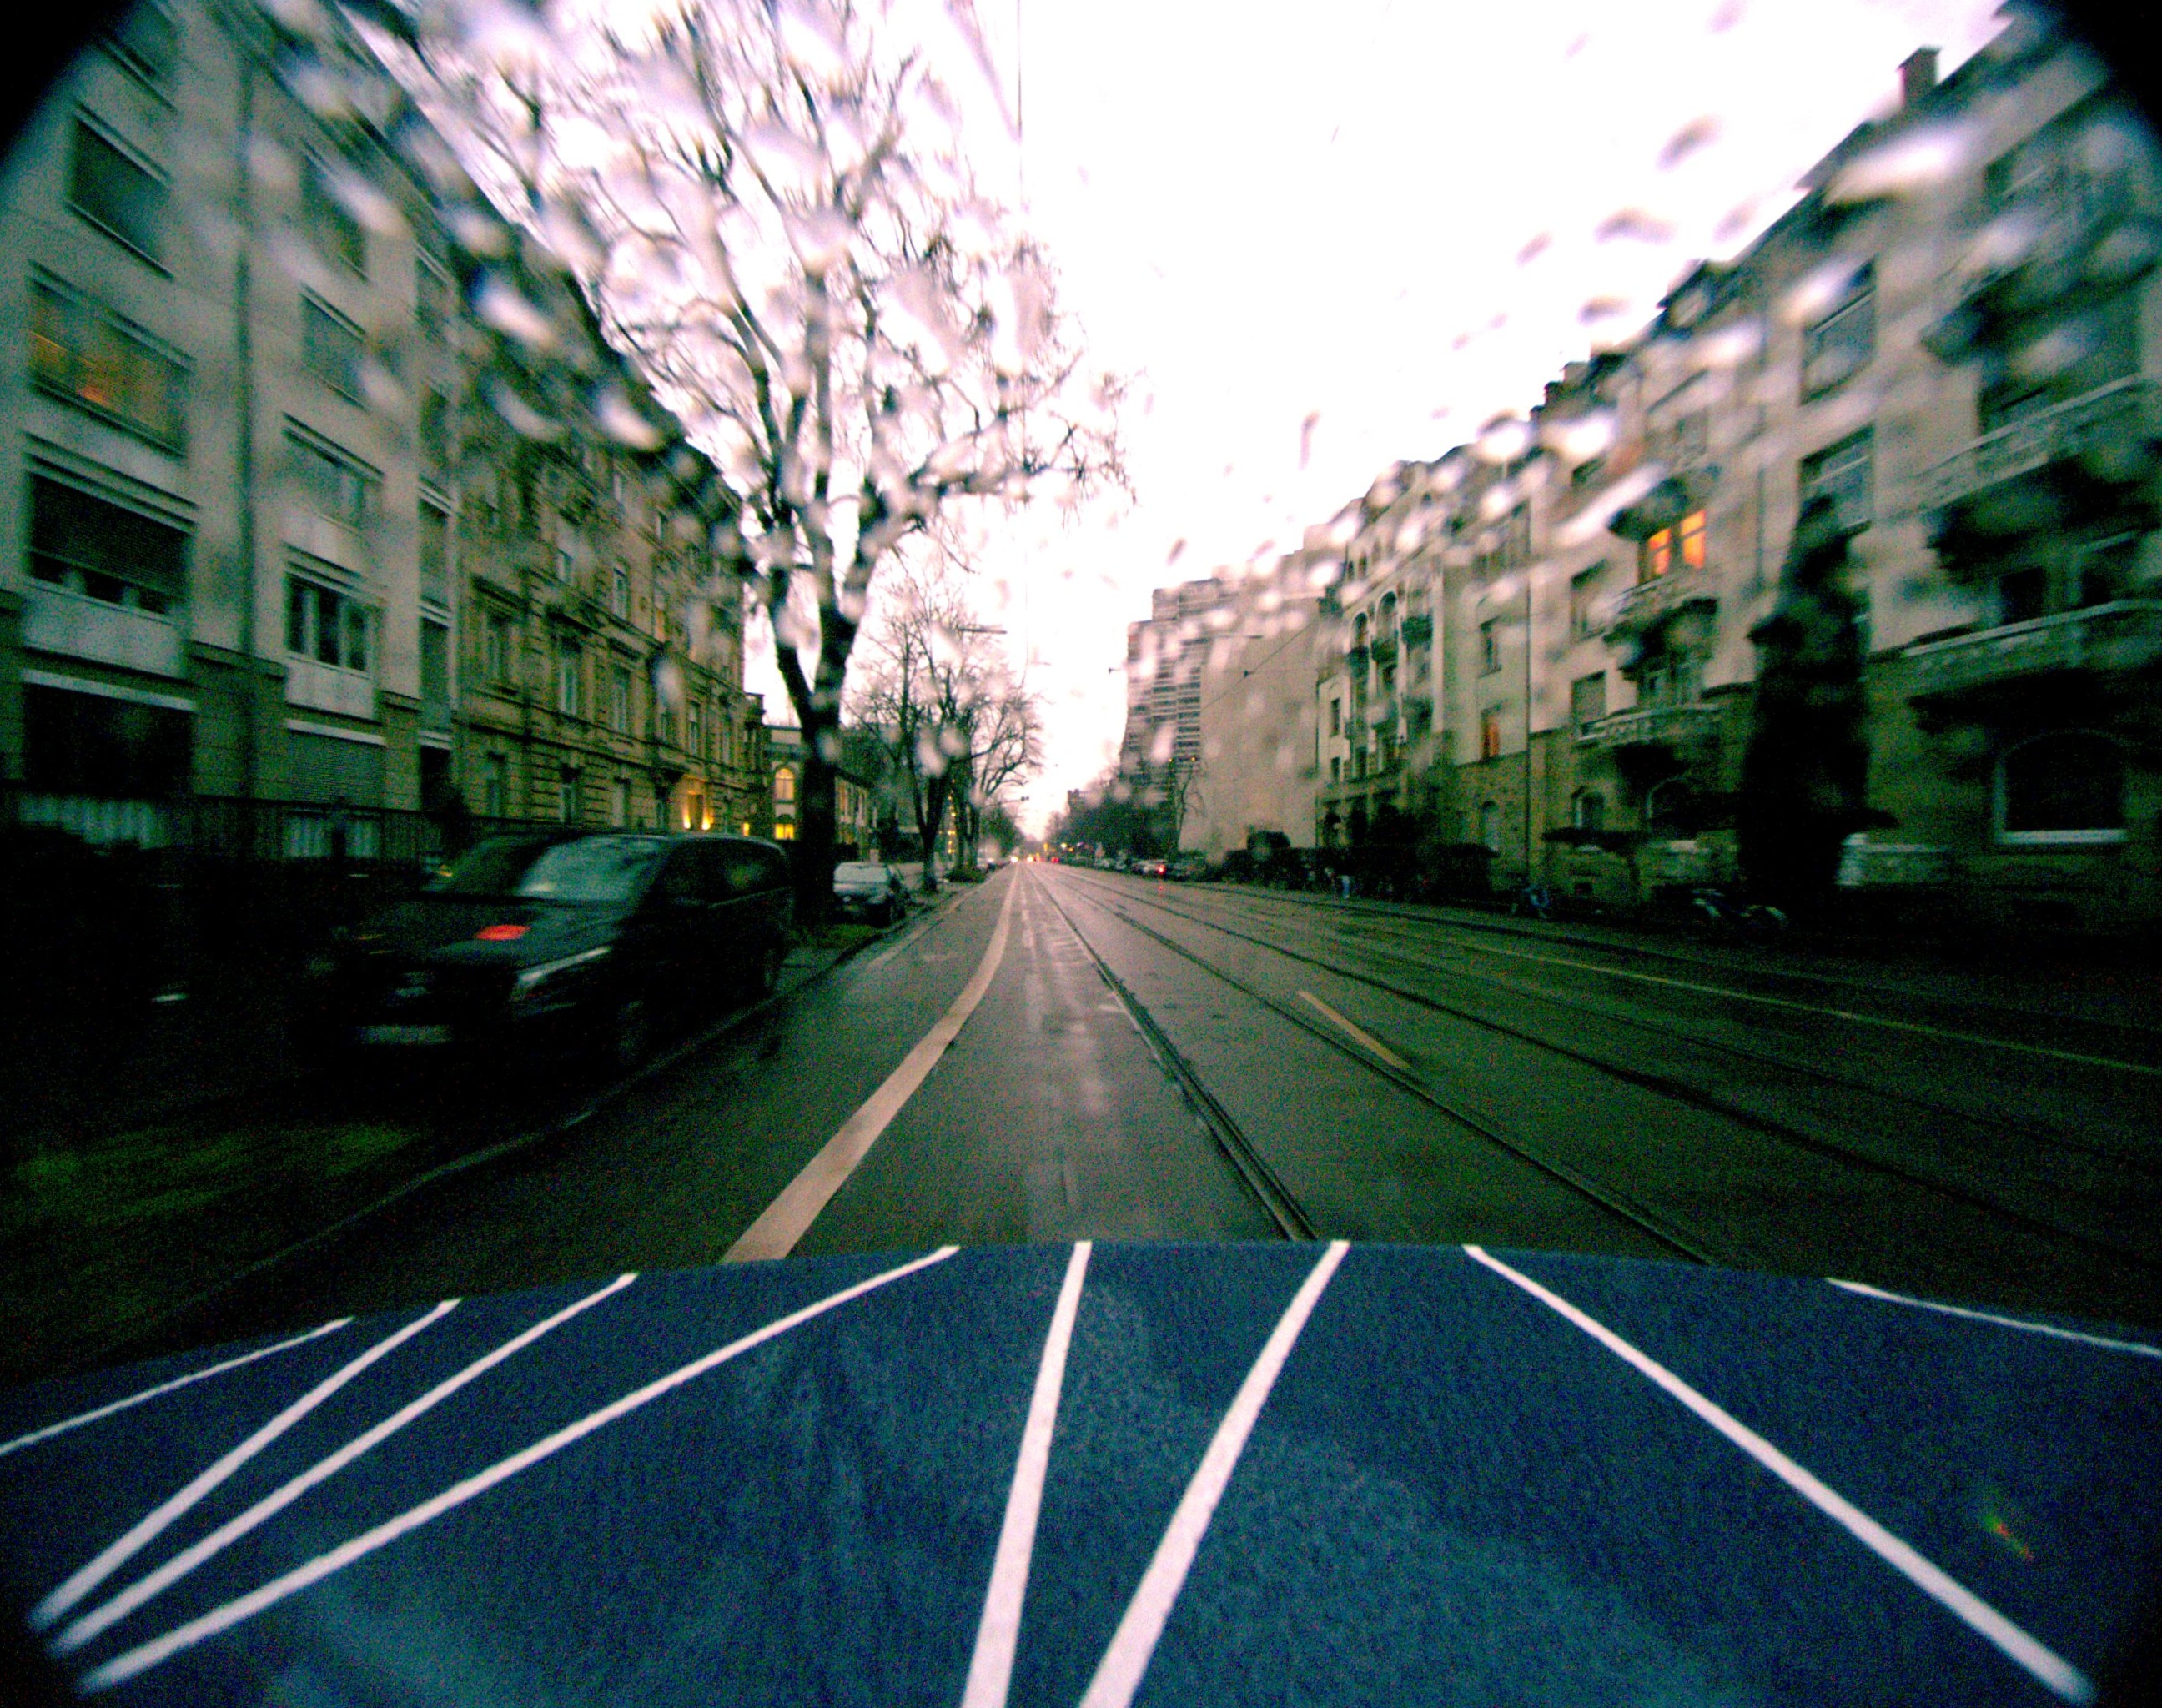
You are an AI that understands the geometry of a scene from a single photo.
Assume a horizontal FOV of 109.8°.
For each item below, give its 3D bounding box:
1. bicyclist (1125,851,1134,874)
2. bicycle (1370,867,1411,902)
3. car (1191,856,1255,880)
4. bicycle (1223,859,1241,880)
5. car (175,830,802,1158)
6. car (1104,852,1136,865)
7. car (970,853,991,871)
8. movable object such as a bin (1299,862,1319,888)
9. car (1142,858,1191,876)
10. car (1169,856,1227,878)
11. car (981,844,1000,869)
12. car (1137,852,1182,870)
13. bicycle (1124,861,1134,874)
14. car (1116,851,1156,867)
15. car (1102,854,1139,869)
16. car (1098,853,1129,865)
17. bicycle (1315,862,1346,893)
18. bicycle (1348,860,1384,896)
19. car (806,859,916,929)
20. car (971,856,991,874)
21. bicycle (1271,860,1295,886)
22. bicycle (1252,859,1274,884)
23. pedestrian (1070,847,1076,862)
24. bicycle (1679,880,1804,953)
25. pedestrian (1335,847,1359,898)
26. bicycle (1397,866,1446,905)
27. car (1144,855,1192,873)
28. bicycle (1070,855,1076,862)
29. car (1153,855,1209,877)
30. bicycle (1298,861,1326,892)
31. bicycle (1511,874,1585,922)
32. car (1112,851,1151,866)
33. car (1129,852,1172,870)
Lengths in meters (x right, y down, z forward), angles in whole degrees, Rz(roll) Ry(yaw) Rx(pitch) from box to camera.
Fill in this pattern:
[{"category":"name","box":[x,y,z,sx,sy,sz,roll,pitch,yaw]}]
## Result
[{"category":"bicyclist","box":[3.885,0.665,61.137,0.625,1.865,0.991,0,1,-2]},{"category":"bicycle","box":[10.187,0.988,25.067,0.625,1.059,1.726,0,0,-2]},{"category":"car","box":[9.375,0.886,50.073,4.007,1.485,1.864,-1,0,-33]},{"category":"bicycle","box":[8.580,0.882,43.301,0.625,1.157,1.662,-1,0,-2]},{"category":"car","box":[-4.304,0.803,6.865,2.036,1.865,4.961,1,0,-4]},{"category":"car","box":[5.130,0.609,98.759,4.008,1.586,1.864,-1,1,-41]},{"category":"car","box":[-10.063,0.770,76.153,2.000,1.672,3.997,-1,1,-7]},{"category":"movable object such as a bin","box":[10.212,0.924,34.069,0.659,1.157,0.674,0,1,-2]},{"category":"car","box":[6.485,0.962,57.439,3.674,1.245,1.707,1,0,-42]},{"category":"car","box":[8.062,0.866,52.349,4.008,1.477,1.759,-1,0,-41]},{"category":"car","box":[-10.304,0.246,86.145,2.094,2.622,5.445,-1,1,-7]},{"category":"car","box":[7.242,0.643,69.834,4.008,1.586,1.864,-1,1,-41]},{"category":"bicycle","box":[3.867,1.079,61.226,0.625,1.086,1.947,0,0,-2]},{"category":"car","box":[5.744,0.543,78.950,4.008,1.586,1.864,-1,1,-41]},{"category":"car","box":[4.557,0.851,87.408,4.008,1.586,1.864,-1,1,-41]},{"category":"car","box":[4.331,0.641,101.001,4.008,1.586,1.864,-1,1,-41]},{"category":"bicycle","box":[9.717,0.896,29.608,0.625,1.157,1.662,0,0,-2]},{"category":"bicycle","box":[10.074,0.839,26.898,0.625,1.205,1.662,0,0,-2]},{"category":"car","box":[-5.157,0.873,18.337,1.763,1.437,4.155,2,0,-5]},{"category":"car","box":[-8.759,0.931,66.491,1.629,1.399,3.997,-1,1,-7]},{"category":"bicycle","box":[9.422,0.869,35.551,0.625,1.205,1.662,0,0,-2]},{"category":"bicycle","box":[9.121,0.871,38.109,0.625,1.205,1.662,0,0,-2]},{"category":"pedestrian","box":[-1.300,0.078,120.601,0.952,2.246,1.119,-1,1,1]},{"category":"bicycle","box":[11.061,1.014,12.805,0.625,1.086,1.662,0,0,-2]},{"category":"pedestrian","box":[9.175,0.625,26.215,0.574,1.716,0.644,-1,2,0]},{"category":"bicycle","box":[10.342,0.939,23.124,0.625,1.119,1.783,0,0,-2]},{"category":"car","box":[7.549,0.853,65.724,4.008,1.440,1.864,-1,0,-41]},{"category":"bicycle","box":[-1.293,0.694,120.617,0.858,0.986,1.918,-1,1,0]},{"category":"car","box":[7.336,0.848,55.571,4.008,1.586,1.864,-1,1,-41]},{"category":"bicycle","box":[9.614,0.919,31.678,0.625,1.205,1.662,0,0,-2]},{"category":"bicycle","box":[10.757,0.987,17.565,0.625,0.997,1.662,0,0,-2]},{"category":"car","box":[5.499,0.510,82.362,4.008,1.586,1.864,-1,1,-41]},{"category":"car","box":[6.640,0.659,72.484,4.008,1.586,1.864,-1,1,-41]}]
